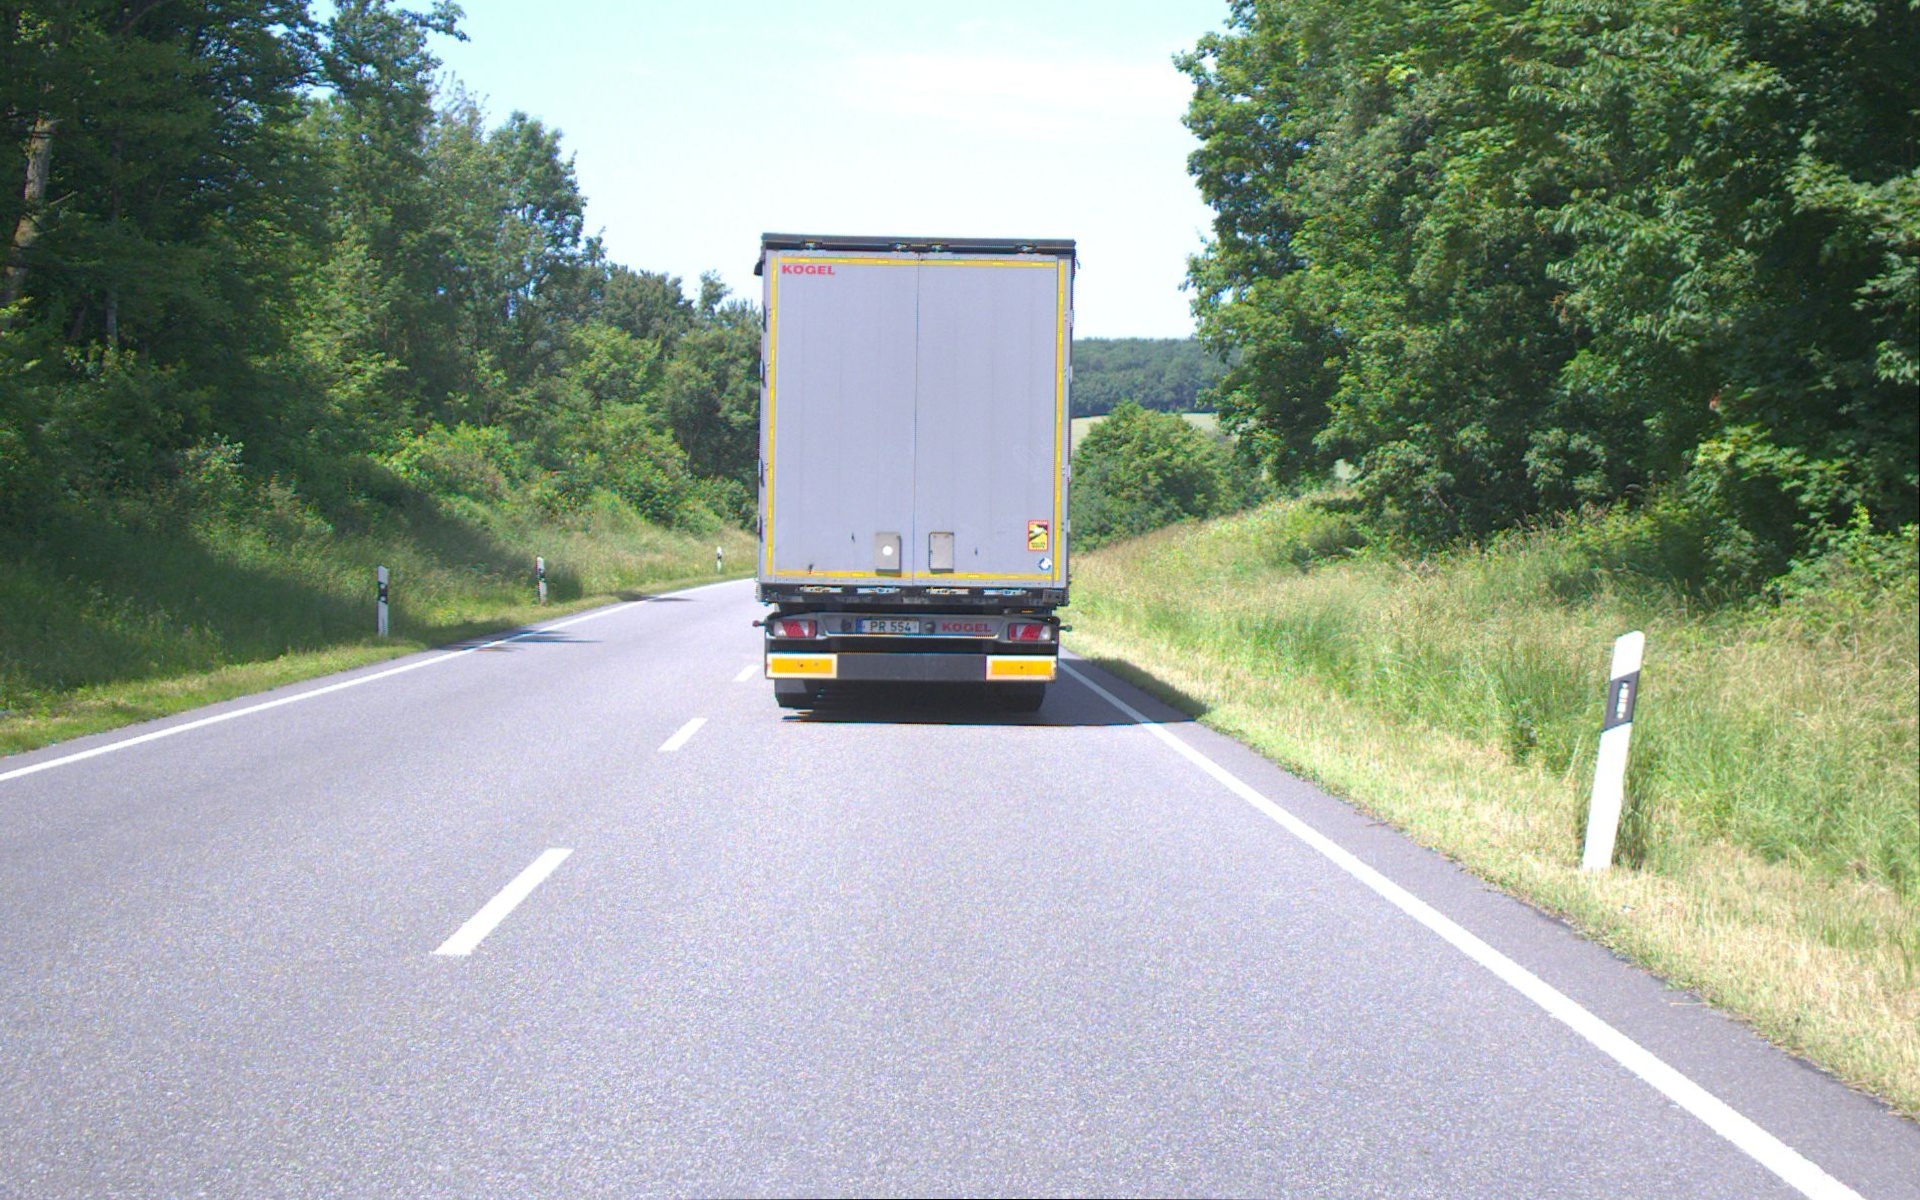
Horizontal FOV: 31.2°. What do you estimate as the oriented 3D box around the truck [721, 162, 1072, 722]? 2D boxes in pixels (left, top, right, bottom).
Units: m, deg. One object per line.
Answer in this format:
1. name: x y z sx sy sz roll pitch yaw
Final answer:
1. truck: -0.602 -1.395 33.736 2.817 4.517 11.769 0 1 -1
